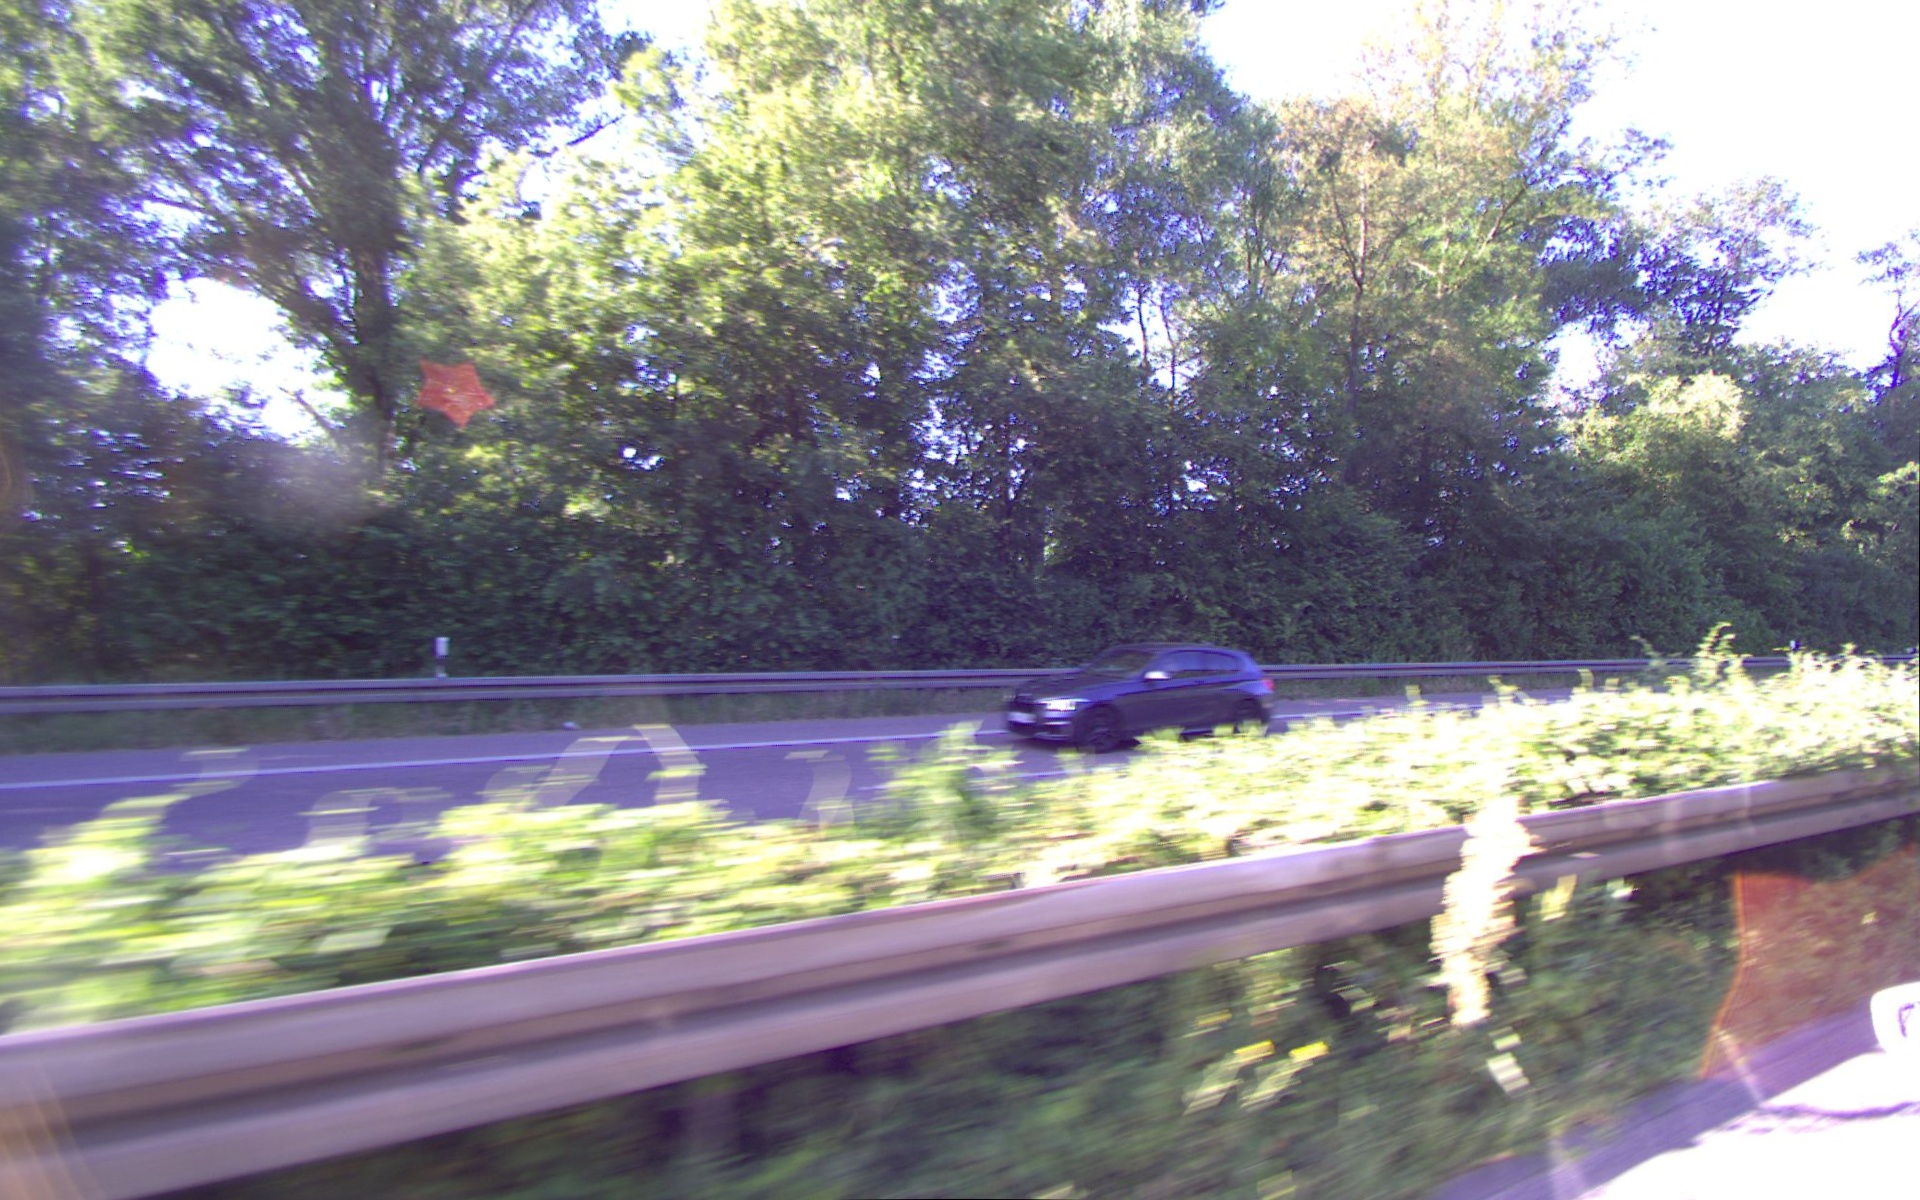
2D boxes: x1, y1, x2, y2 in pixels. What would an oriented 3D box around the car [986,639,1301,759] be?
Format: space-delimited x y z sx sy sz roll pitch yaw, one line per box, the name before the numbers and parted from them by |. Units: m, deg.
car | 2.738 1.330 14.652 4.502 1.427 1.725 1 0 -30
